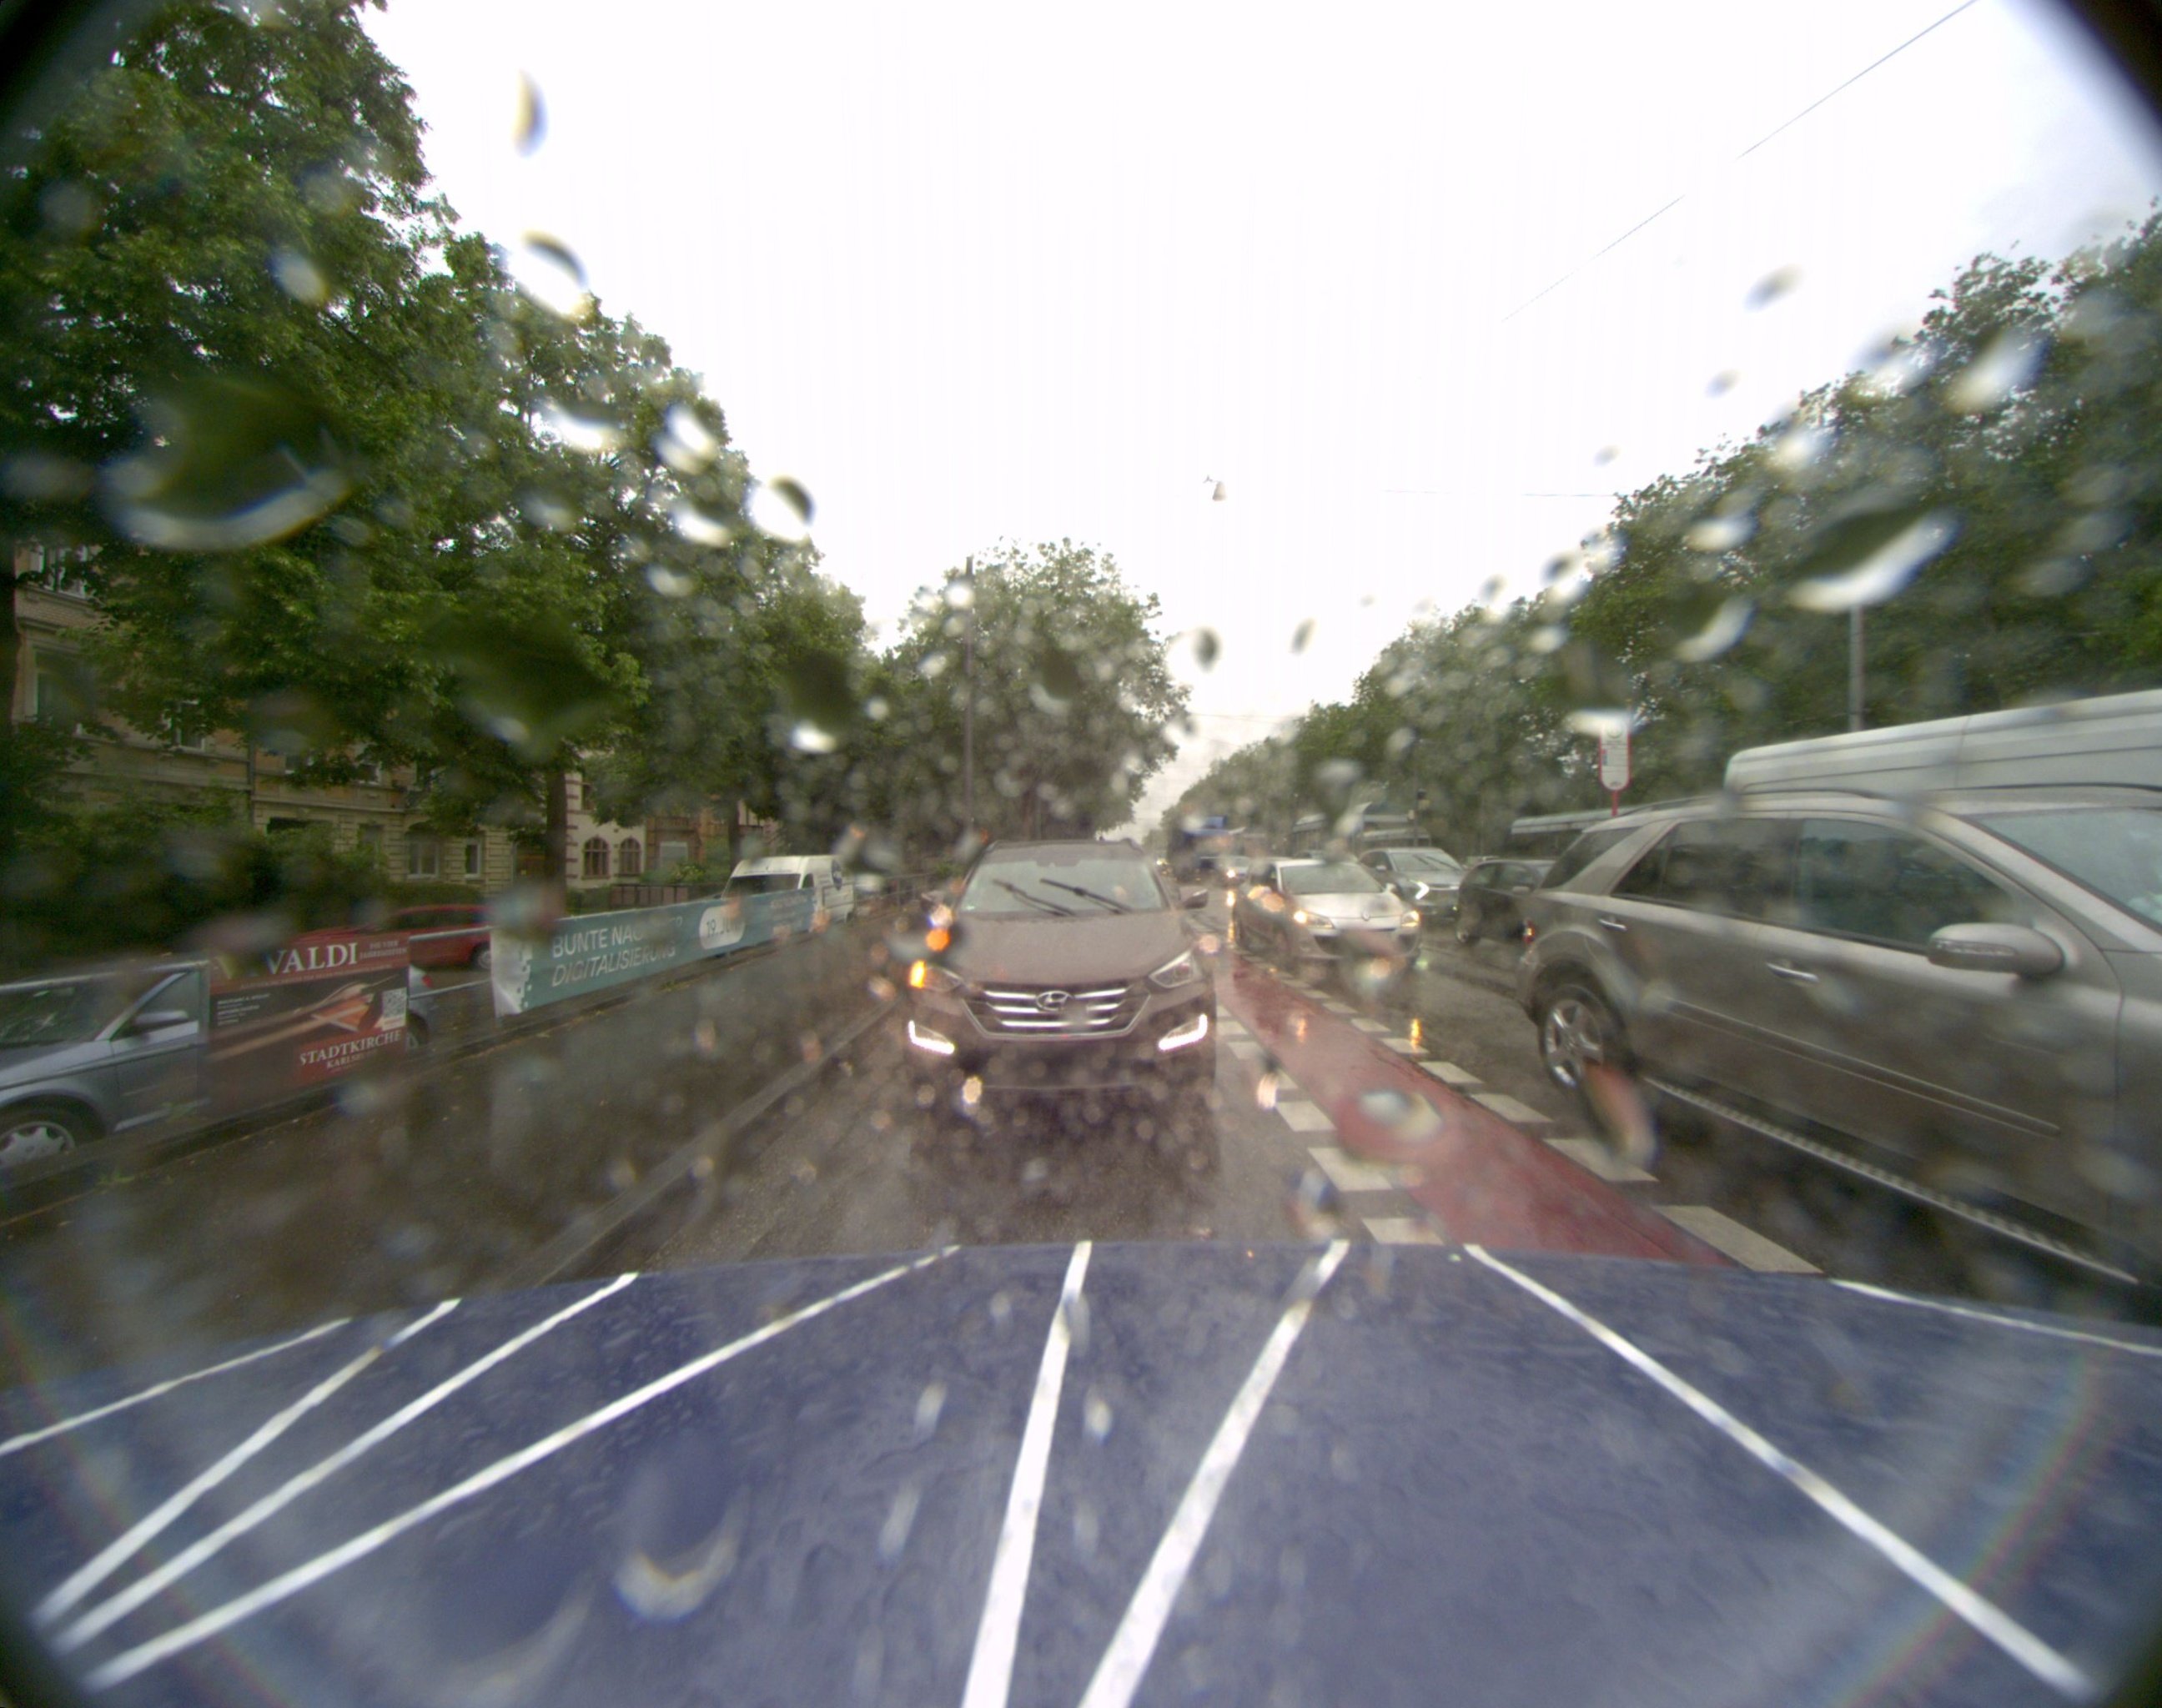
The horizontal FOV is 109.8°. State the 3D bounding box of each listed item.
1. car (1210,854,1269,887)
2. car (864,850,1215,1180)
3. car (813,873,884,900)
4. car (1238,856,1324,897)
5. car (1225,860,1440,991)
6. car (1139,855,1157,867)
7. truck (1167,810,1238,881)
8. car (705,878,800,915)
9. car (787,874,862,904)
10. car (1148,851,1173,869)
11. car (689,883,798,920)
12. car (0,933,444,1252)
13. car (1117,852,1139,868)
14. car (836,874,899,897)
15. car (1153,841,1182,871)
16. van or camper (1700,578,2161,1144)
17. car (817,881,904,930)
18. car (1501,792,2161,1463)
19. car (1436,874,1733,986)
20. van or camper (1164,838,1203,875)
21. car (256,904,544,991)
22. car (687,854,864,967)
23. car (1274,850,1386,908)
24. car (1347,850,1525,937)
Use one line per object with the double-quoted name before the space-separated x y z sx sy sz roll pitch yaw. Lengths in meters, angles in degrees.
"car" 7.576 0.750 36.643 1.895 1.478 4.077 -1 0 -1
"car" -0.150 0.829 5.738 1.756 1.657 3.678 -2 0 2
"car" -15.397 2.127 50.354 4.007 1.557 1.995 -2 1 -34
"car" 7.520 0.792 29.055 1.999 1.386 4.606 0 0 -1
"car" 3.385 0.866 11.082 1.772 1.469 4.000 -2 0 0
"car" 7.044 0.708 79.981 1.467 1.185 3.615 -2 0 0
"truck" 7.192 -0.483 46.308 2.545 3.866 9.810 1 0 -1
"car" -15.532 1.989 35.995 4.005 1.496 1.655 -1 1 -24
"car" -15.727 2.125 46.659 4.006 1.599 1.821 -2 1 -31
"car" 7.609 0.568 73.321 1.998 1.568 4.000 -2 0 1
"car" -14.865 2.054 33.495 4.269 1.372 1.687 -1 1 -27
"car" -7.239 1.593 5.535 1.736 1.530 4.074 -2 0 -1
"car" 4.712 0.589 76.908 1.899 1.569 3.999 0 0 0
"car" -15.545 2.243 55.351 4.007 1.455 1.908 -2 1 -34
"car" 7.450 0.131 65.748 1.998 2.412 5.727 -2 0 3
"van or camper" 7.043 0.037 4.347 2.164 3.123 5.850 0 0 -1
"car" -7.755 1.769 27.211 1.972 1.345 4.383 -3 0 -3
"car" 3.825 0.686 2.814 2.030 1.760 4.462 -2 0 0
"car" 6.738 0.931 10.762 1.467 1.111 4.087 -2 0 0
"van or camper" 7.621 0.185 57.104 1.998 2.555 6.431 -2 0 0
"car" -14.631 1.948 16.734 4.439 1.444 1.894 0 -1 -32
"car" -7.709 1.256 20.091 2.214 2.406 6.157 -2 0 -2
"car" 7.563 0.689 23.577 1.999 1.611 4.319 -1 0 -1
"car" 7.476 0.732 16.551 1.919 1.614 4.454 0 0 2
